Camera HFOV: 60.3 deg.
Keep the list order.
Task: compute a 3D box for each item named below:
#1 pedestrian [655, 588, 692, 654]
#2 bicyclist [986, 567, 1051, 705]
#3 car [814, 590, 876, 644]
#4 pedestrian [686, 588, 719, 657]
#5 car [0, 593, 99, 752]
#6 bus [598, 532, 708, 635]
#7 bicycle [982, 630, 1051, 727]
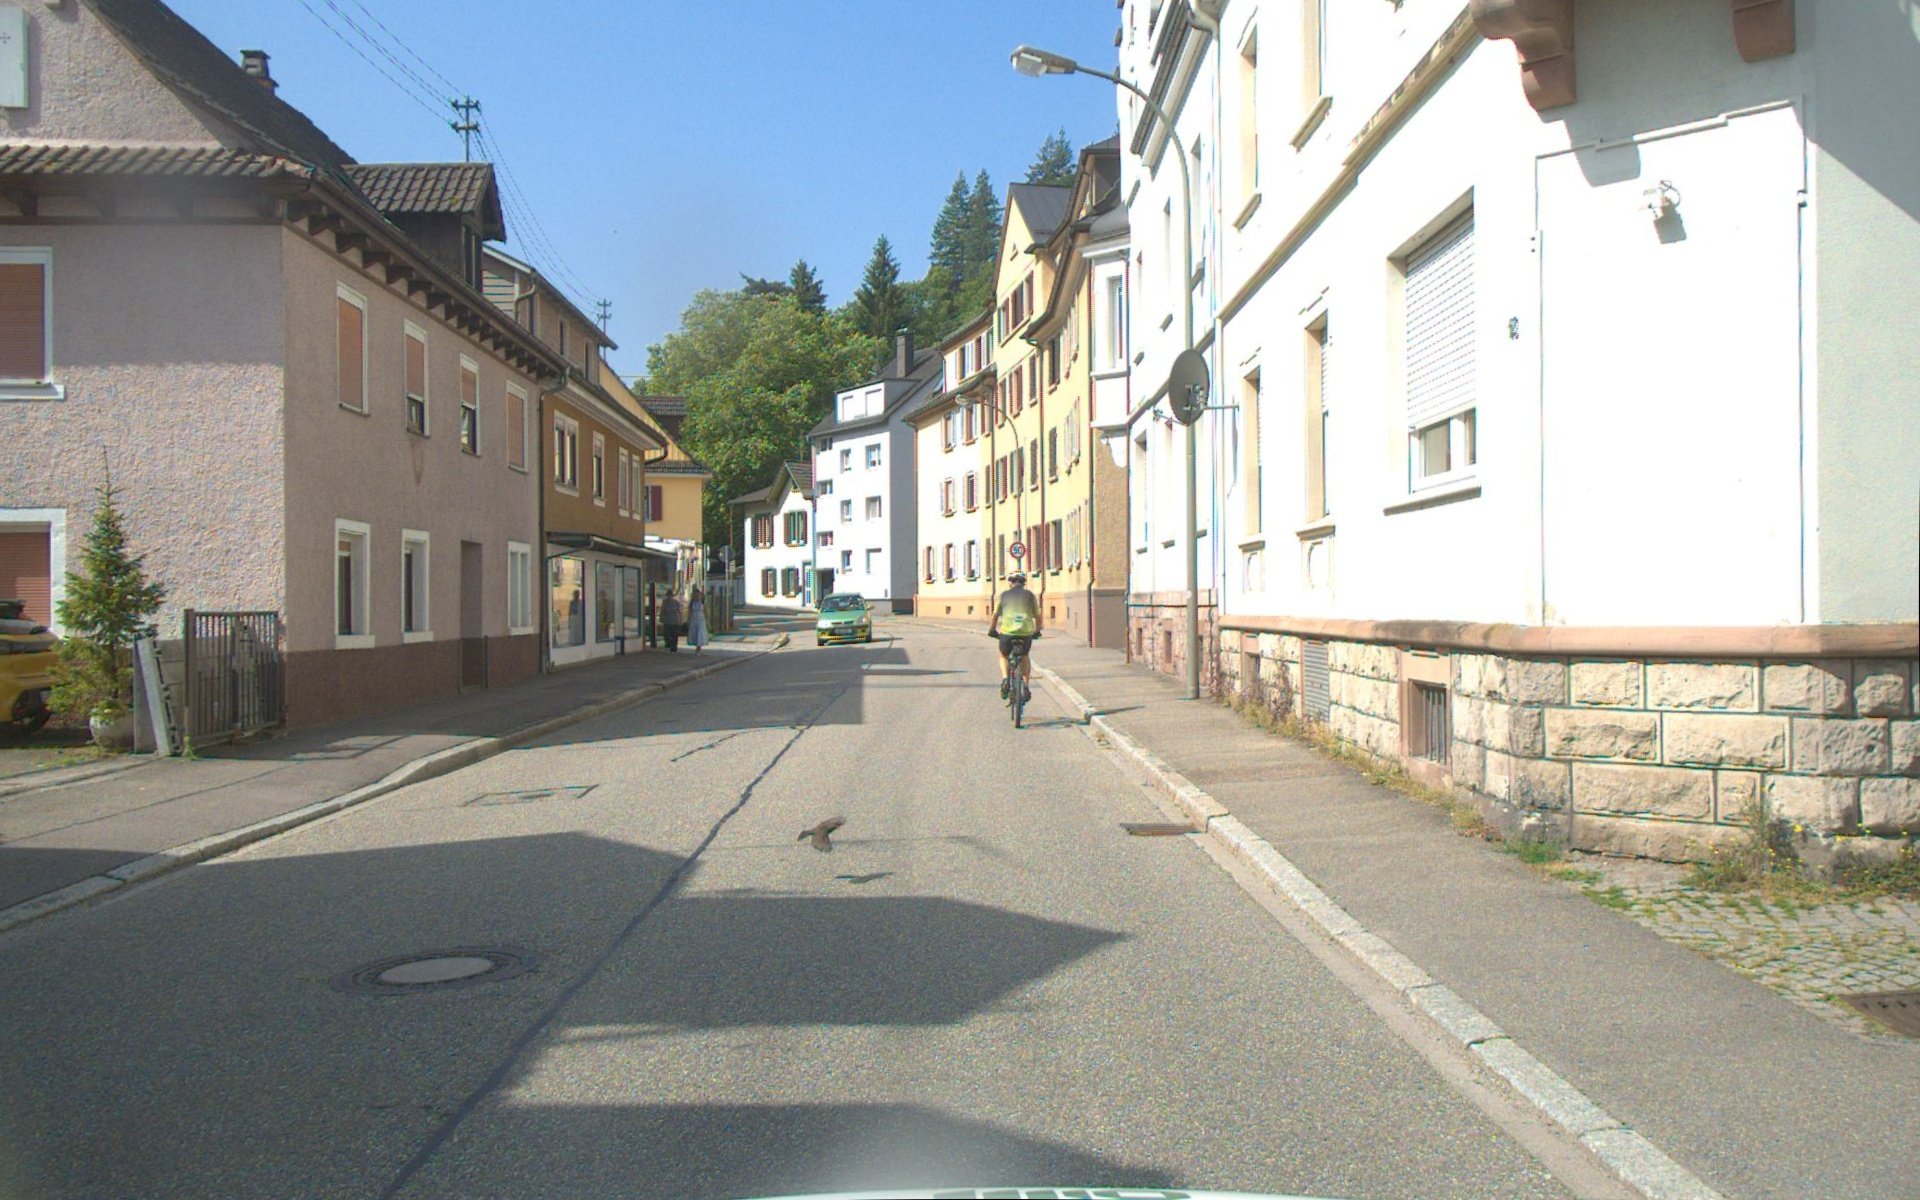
[{"bbox_3d":[-7.107,0.507,41.101,0.720,1.592,0.824,3,0,-1],"label":"pedestrian"},{"bbox_3d":[0.680,0.411,19.293,0.672,1.558,0.715,-1,0,-3],"label":"bicyclist"},{"bbox_3d":[-3.414,0.481,49.595,1.564,1.490,3.659,-3,0,-1],"label":"car"},{"bbox_3d":[-6.366,0.550,40.973,0.626,1.654,0.777,3,0,-1],"label":"pedestrian"},{"bbox_3d":[-10.542,0.635,15.845,3.677,1.417,1.644,1,1,-5],"label":"car"},{"bbox_3d":[-10.591,-0.554,57.859,2.765,3.284,9.028,1,0,-4],"label":"bus"},{"bbox_3d":[0.642,0.896,19.342,0.684,1.053,1.470,0,0,-3],"label":"bicycle"}]
